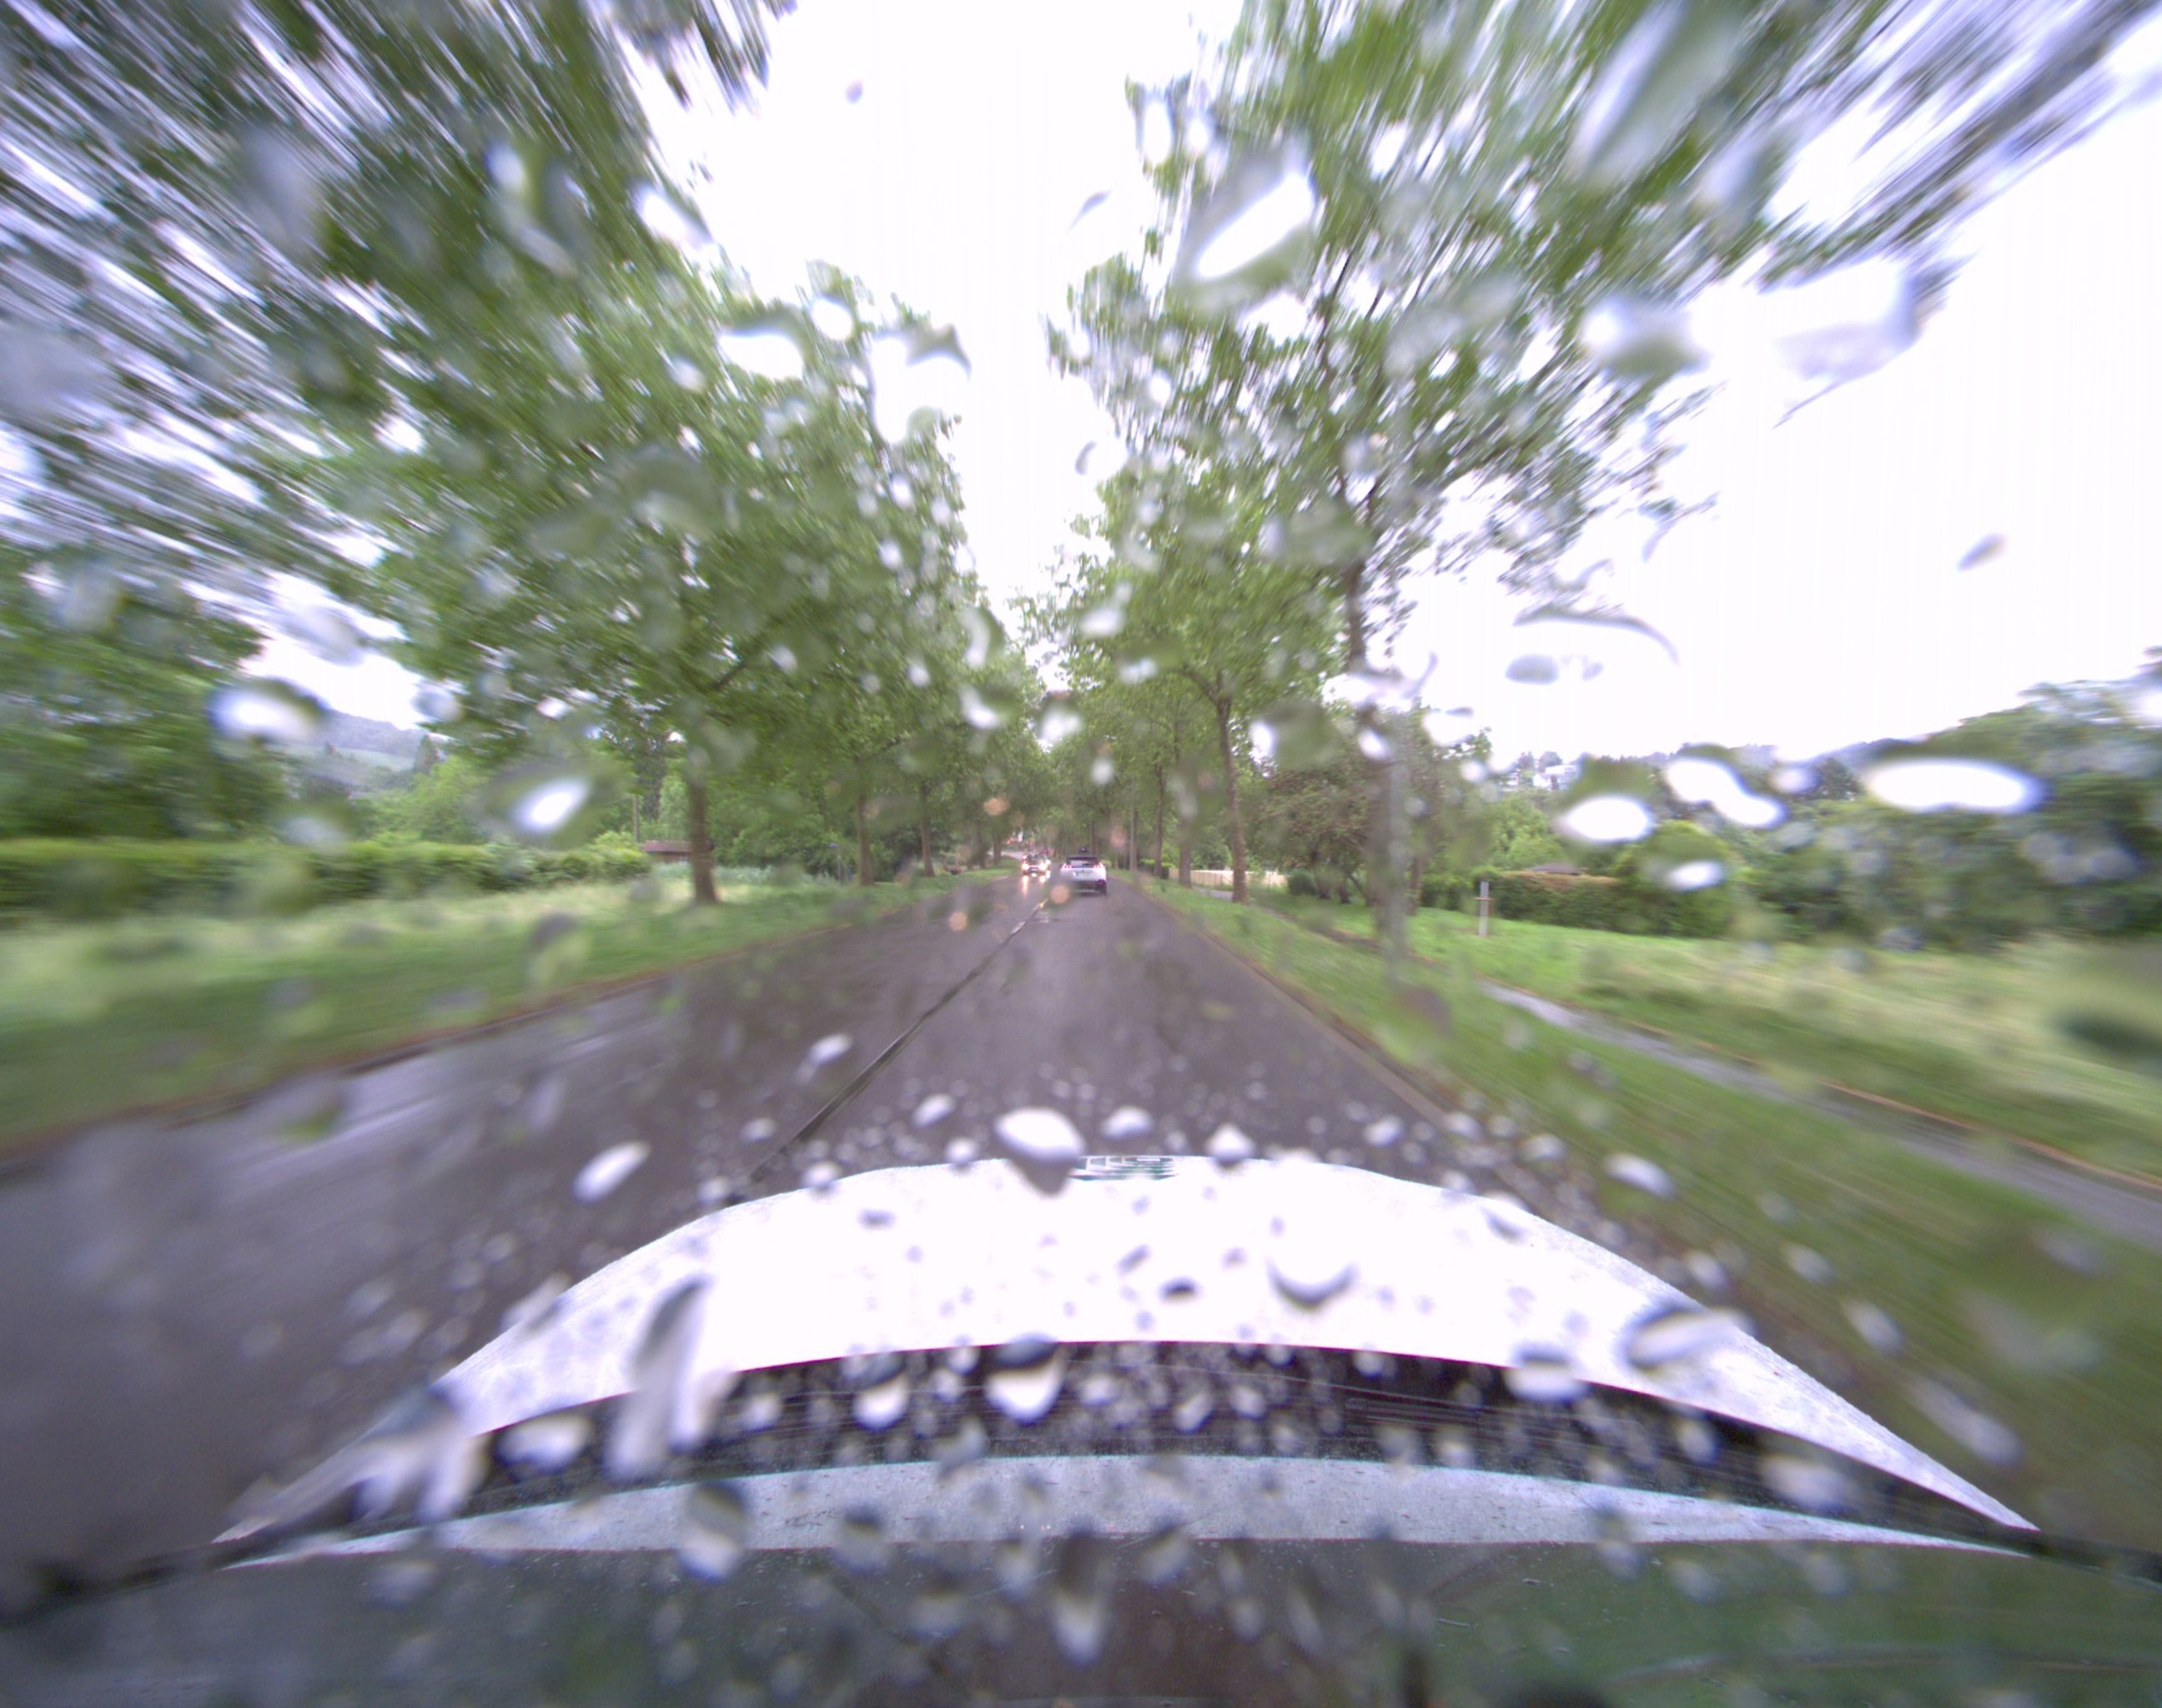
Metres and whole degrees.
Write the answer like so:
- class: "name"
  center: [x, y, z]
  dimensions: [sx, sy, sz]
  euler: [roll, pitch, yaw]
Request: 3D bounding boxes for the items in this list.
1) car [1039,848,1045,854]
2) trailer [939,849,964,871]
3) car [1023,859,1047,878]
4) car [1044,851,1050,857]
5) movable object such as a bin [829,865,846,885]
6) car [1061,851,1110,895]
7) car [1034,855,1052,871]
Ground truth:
- class: "car"
  center: [-11.434, -0.920, 238.560]
  dimensions: [1.822, 1.596, 3.652]
  euler: [1, 0, -1]
- class: "trailer"
  center: [-16.085, 0.708, 101.319]
  dimensions: [2.479, 2.567, 5.326]
  euler: [1, 0, -3]
- class: "car"
  center: [-3.610, 1.113, 64.405]
  dimensions: [1.727, 1.423, 4.222]
  euler: [-1, 0, -2]
- class: "car"
  center: [-9.545, 0.054, 228.785]
  dimensions: [1.822, 1.596, 3.652]
  euler: [1, 0, -1]
- class: "movable object such as a bin"
  center: [-17.826, 1.527, 59.599]
  dimensions: [0.960, 1.422, 0.965]
  euler: [1, 0, -3]
- class: "car"
  center: [0.145, 0.683, 31.656]
  dimensions: [1.788, 1.578, 3.843]
  euler: [1, 0, -1]
- class: "car"
  center: [-3.952, 0.916, 85.369]
  dimensions: [1.726, 1.588, 4.309]
  euler: [1, 0, -1]
